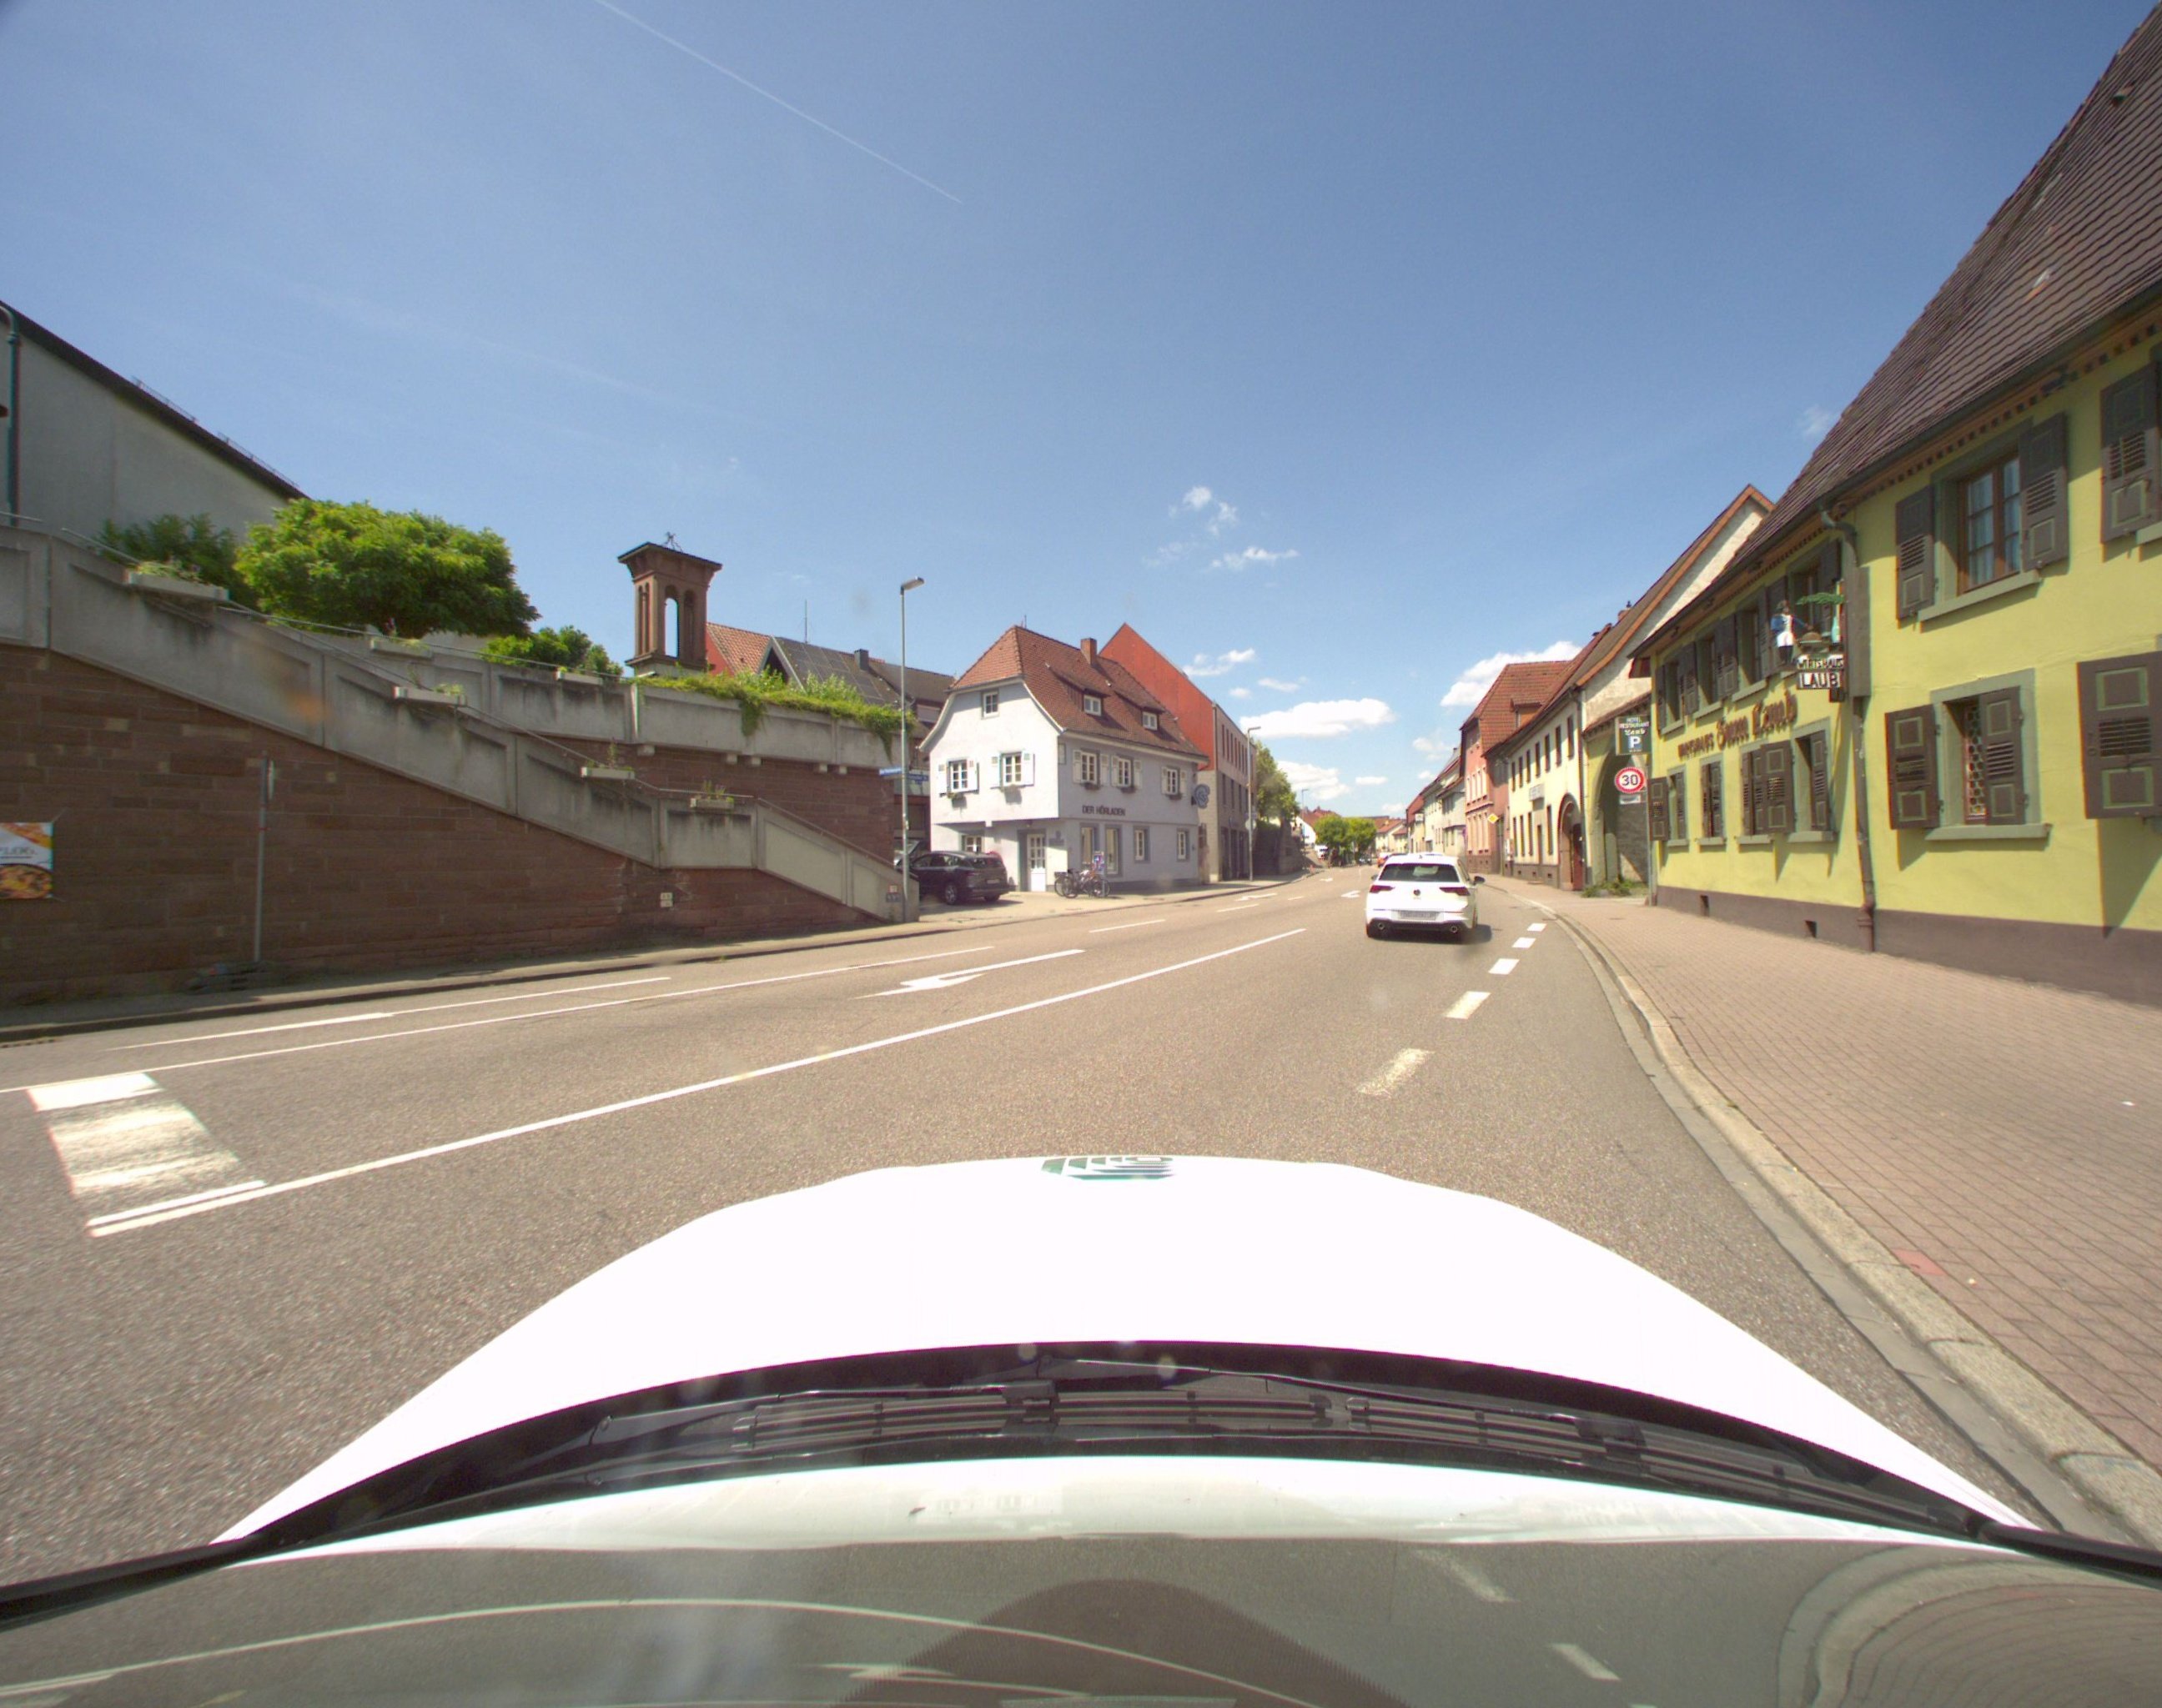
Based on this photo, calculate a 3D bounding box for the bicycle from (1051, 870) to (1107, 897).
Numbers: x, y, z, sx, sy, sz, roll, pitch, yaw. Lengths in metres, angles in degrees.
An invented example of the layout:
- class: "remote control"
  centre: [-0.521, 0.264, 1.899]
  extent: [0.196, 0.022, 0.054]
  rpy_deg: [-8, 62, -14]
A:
- class: "bicycle"
  centre: [-0.058, 1.028, 28.185]
  extent: [1.823, 0.899, 0.644]
  rpy_deg: [1, -1, -20]

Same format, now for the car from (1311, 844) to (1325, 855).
- class: "car"
  centre: [38.295, -0.767, 131.584]
  extent: [1.978, 1.717, 4.018]
  rpy_deg: [0, 0, 17]

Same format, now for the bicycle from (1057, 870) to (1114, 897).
- class: "bicycle"
  centre: [0.148, 0.996, 27.557]
  extent: [1.823, 0.899, 0.619]
  rpy_deg: [1, -1, -20]

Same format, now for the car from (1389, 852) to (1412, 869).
- class: "car"
  centre: [27.383, 0.570, 69.875]
  extent: [1.768, 1.458, 3.882]
  rpy_deg: [-1, -1, 20]

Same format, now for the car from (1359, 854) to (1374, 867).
- class: "car"
  centre: [45.289, 1.036, 129.045]
  extent: [1.976, 2.014, 4.021]
  rpy_deg: [0, 0, 22]

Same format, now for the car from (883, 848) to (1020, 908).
- class: "car"
  centre: [-4.191, 0.684, 26.043]
  extent: [4.271, 1.582, 1.968]
  rpy_deg: [2, 4, 39]

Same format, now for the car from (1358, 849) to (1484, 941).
- class: "car"
  centre: [6.382, 0.668, 15.032]
  extent: [1.766, 1.458, 3.886]
  rpy_deg: [-1, -1, 28]

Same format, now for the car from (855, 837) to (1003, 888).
- class: "car"
  centre: [-6.606, 0.361, 36.007]
  extent: [2.493, 2.014, 6.031]
  rpy_deg: [-3, -2, 44]

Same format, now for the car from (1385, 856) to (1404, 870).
- class: "car"
  centre: [33.150, 0.949, 86.153]
  extent: [1.768, 1.458, 3.881]
  rpy_deg: [-1, -1, 19]

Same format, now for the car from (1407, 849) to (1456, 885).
- class: "car"
  centre: [14.893, 0.543, 34.528]
  extent: [1.766, 1.458, 3.885]
  rpy_deg: [-1, -1, 25]

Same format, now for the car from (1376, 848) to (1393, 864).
- class: "car"
  centre: [36.923, 0.233, 99.088]
  extent: [1.768, 1.840, 3.881]
  rpy_deg: [-1, -1, 19]
